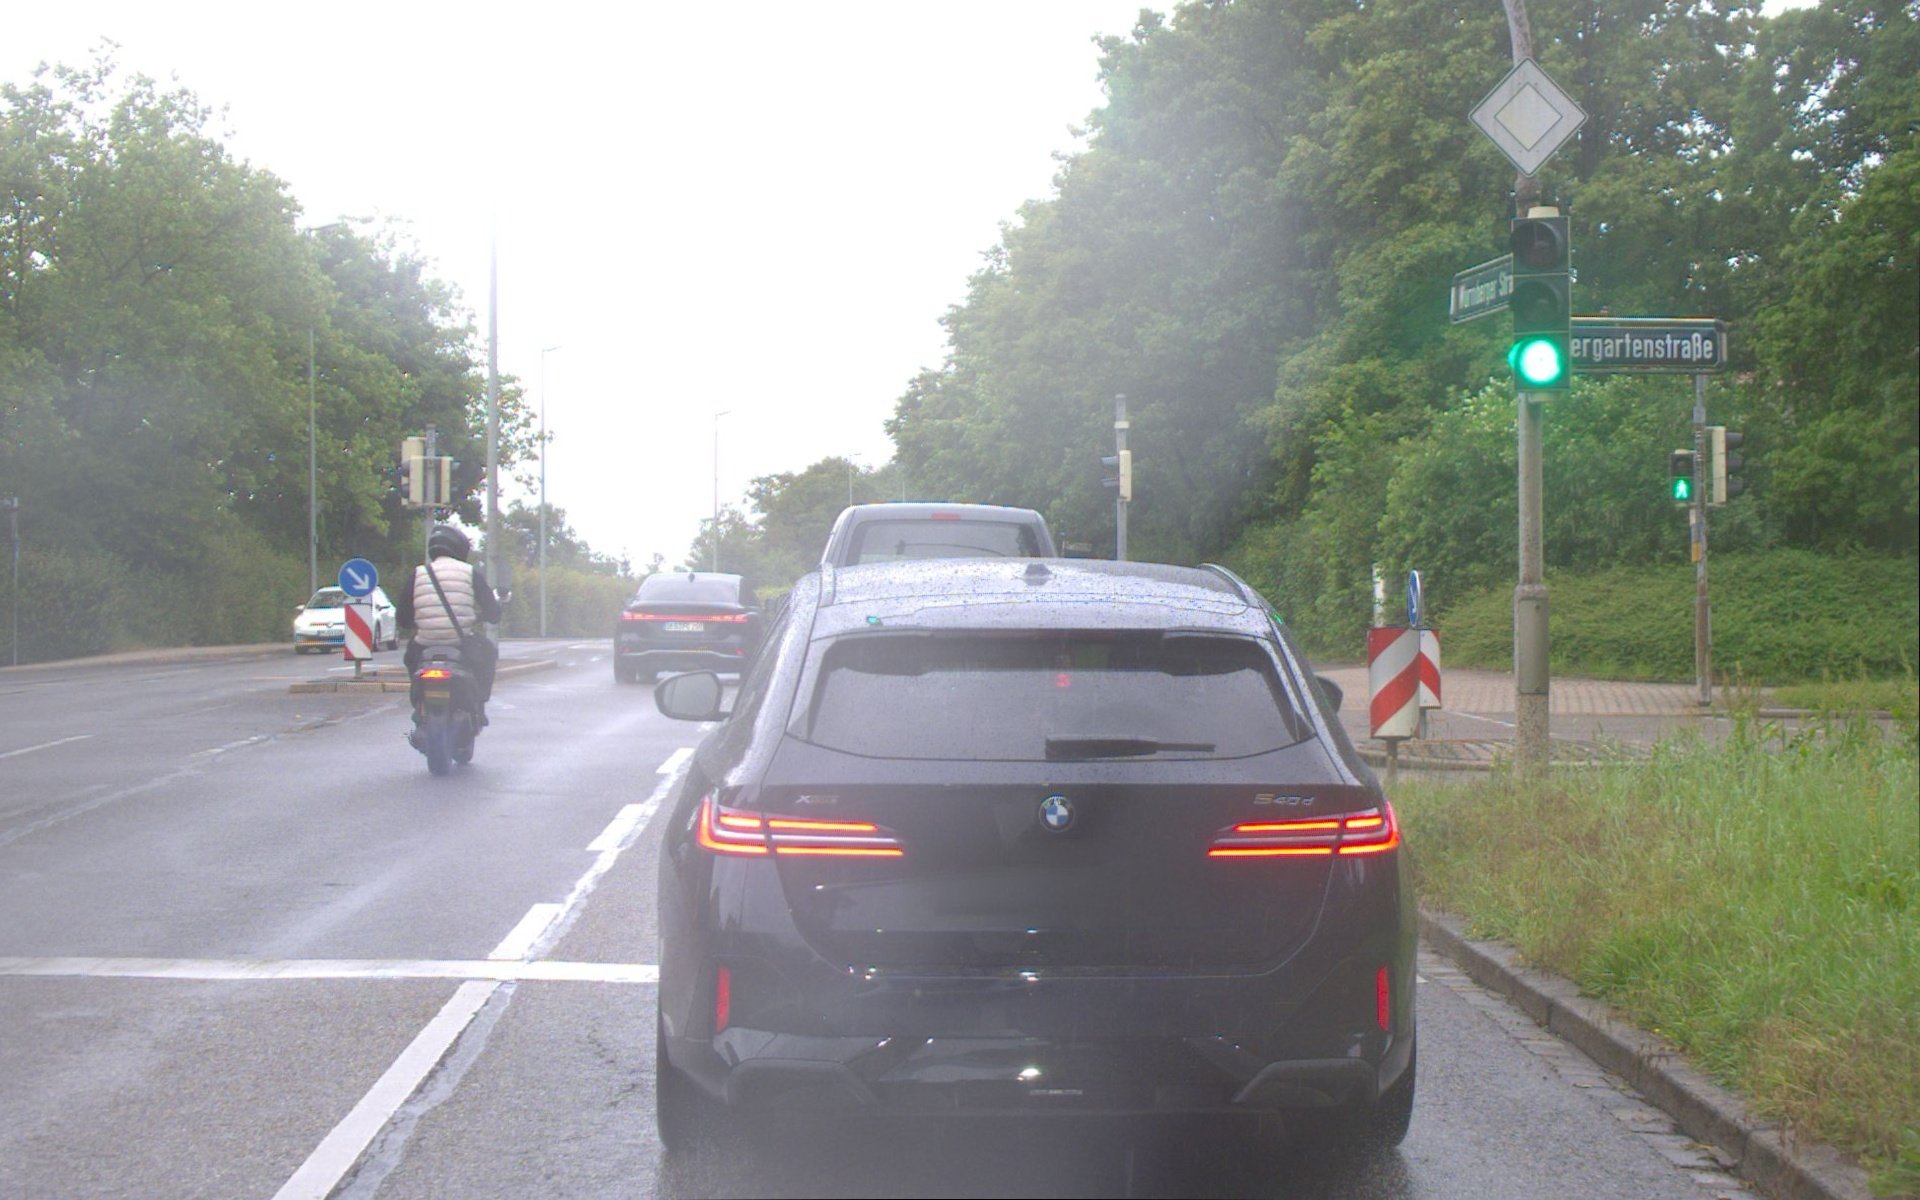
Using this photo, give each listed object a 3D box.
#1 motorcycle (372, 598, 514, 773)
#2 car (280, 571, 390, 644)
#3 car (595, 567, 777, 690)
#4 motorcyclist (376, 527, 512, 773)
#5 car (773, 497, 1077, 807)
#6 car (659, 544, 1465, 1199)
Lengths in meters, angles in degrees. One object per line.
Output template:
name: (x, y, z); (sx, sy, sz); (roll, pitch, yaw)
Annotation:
motorcycle: (-3.493, 0.563, 23.312); (0.741, 1.116, 1.426); (1, 1, -1)
car: (-13.602, 0.151, 74.988); (1.727, 1.480, 4.157); (-2, 1, -2)
car: (-3.468, 0.329, 44.304); (2.014, 1.410, 4.487); (1, 1, -1)
motorcyclist: (-3.495, 0.332, 23.304); (0.845, 1.641, 0.468); (1, 1, -1)
car: (-0.231, 0.266, 22.282); (1.767, 1.804, 3.905); (1, 1, -1)
car: (0.202, 0.652, 9.480); (1.764, 1.531, 3.673); (1, 2, -1)
